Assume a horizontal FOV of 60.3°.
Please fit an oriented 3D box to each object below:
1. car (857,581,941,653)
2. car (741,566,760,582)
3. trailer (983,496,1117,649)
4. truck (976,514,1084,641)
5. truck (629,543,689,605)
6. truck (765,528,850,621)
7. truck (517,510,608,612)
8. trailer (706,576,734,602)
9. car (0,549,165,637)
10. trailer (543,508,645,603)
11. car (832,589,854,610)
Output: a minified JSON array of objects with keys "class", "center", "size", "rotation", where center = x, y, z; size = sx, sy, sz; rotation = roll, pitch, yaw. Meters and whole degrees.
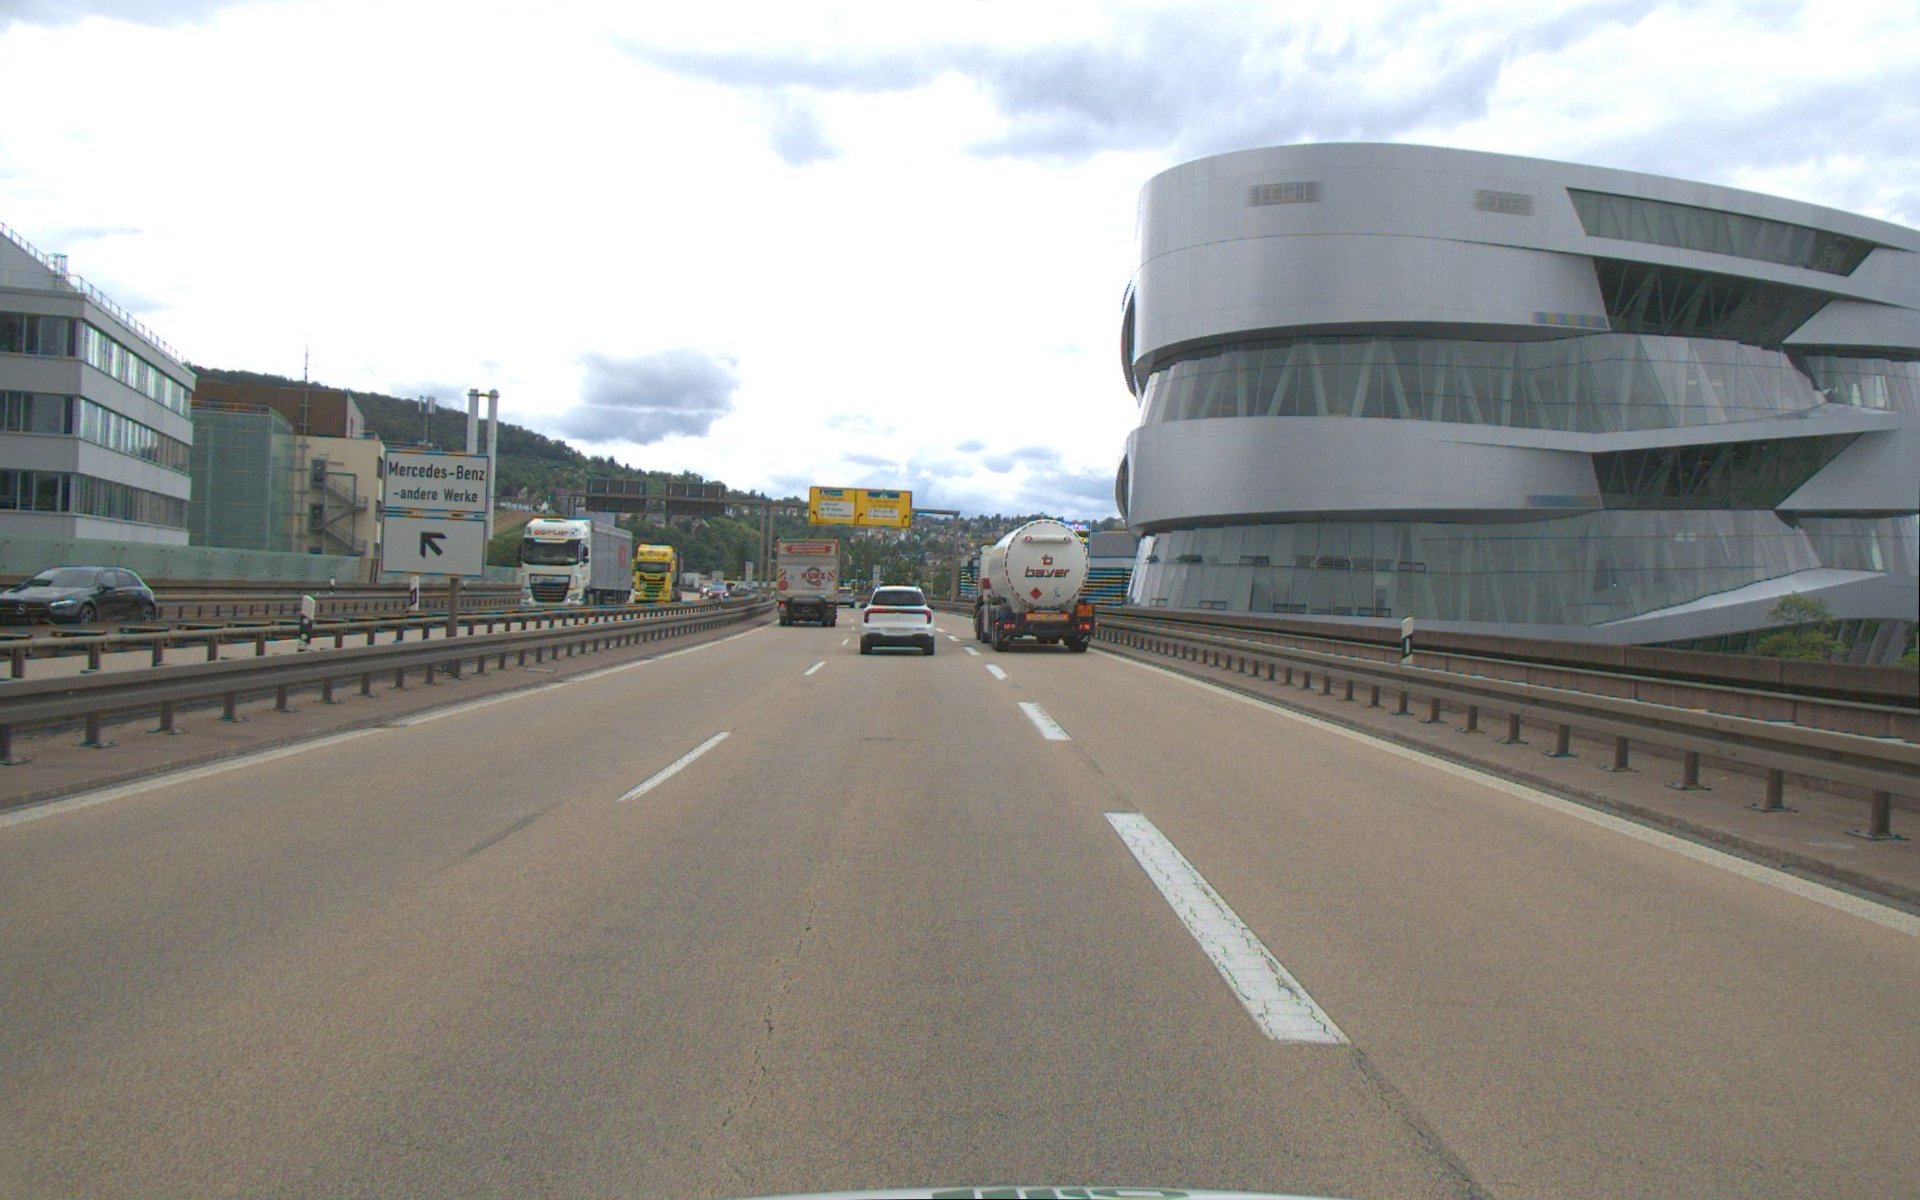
[{"class":"car","center":[-1.496,0.420,42.011],"size":[1.953,1.704,4.408],"rotation":[1,0,0]},{"class":"car","center":[-23.148,-2.904,182.630],"size":[1.955,1.634,4.801],"rotation":[1,0,-6]},{"class":"trailer","center":[2.354,-0.672,46.395],"size":[2.995,3.856,8.300],"rotation":[1,0,-2]},{"class":"truck","center":[2.106,-0.639,52.287],"size":[2.953,3.721,6.271],"rotation":[1,-1,-2]},{"class":"truck","center":[-21.578,-1.755,119.186],"size":[2.997,4.136,11.844],"rotation":[1,0,-5]},{"class":"truck","center":[-6.520,-1.030,71.794],"size":[2.995,3.755,8.301],"rotation":[1,0,-1]},{"class":"truck","center":[-16.922,-1.584,70.733],"size":[2.717,4.151,5.642],"rotation":[1,-1,-3]},{"class":"trailer","center":[-20.044,-0.892,138.400],"size":[1.954,2.049,3.997],"rotation":[1,-1,-3]},{"class":"car","center":[-18.407,-0.131,34.527],"size":[1.649,1.679,4.357],"rotation":[2,0,-3]},{"class":"trailer","center":[-17.438,-1.993,79.674],"size":[2.788,4.057,11.877],"rotation":[1,-1,-3]},{"class":"car","center":[-9.883,-0.007,139.883],"size":[1.649,1.679,4.357],"rotation":[2,0,-3]}]
